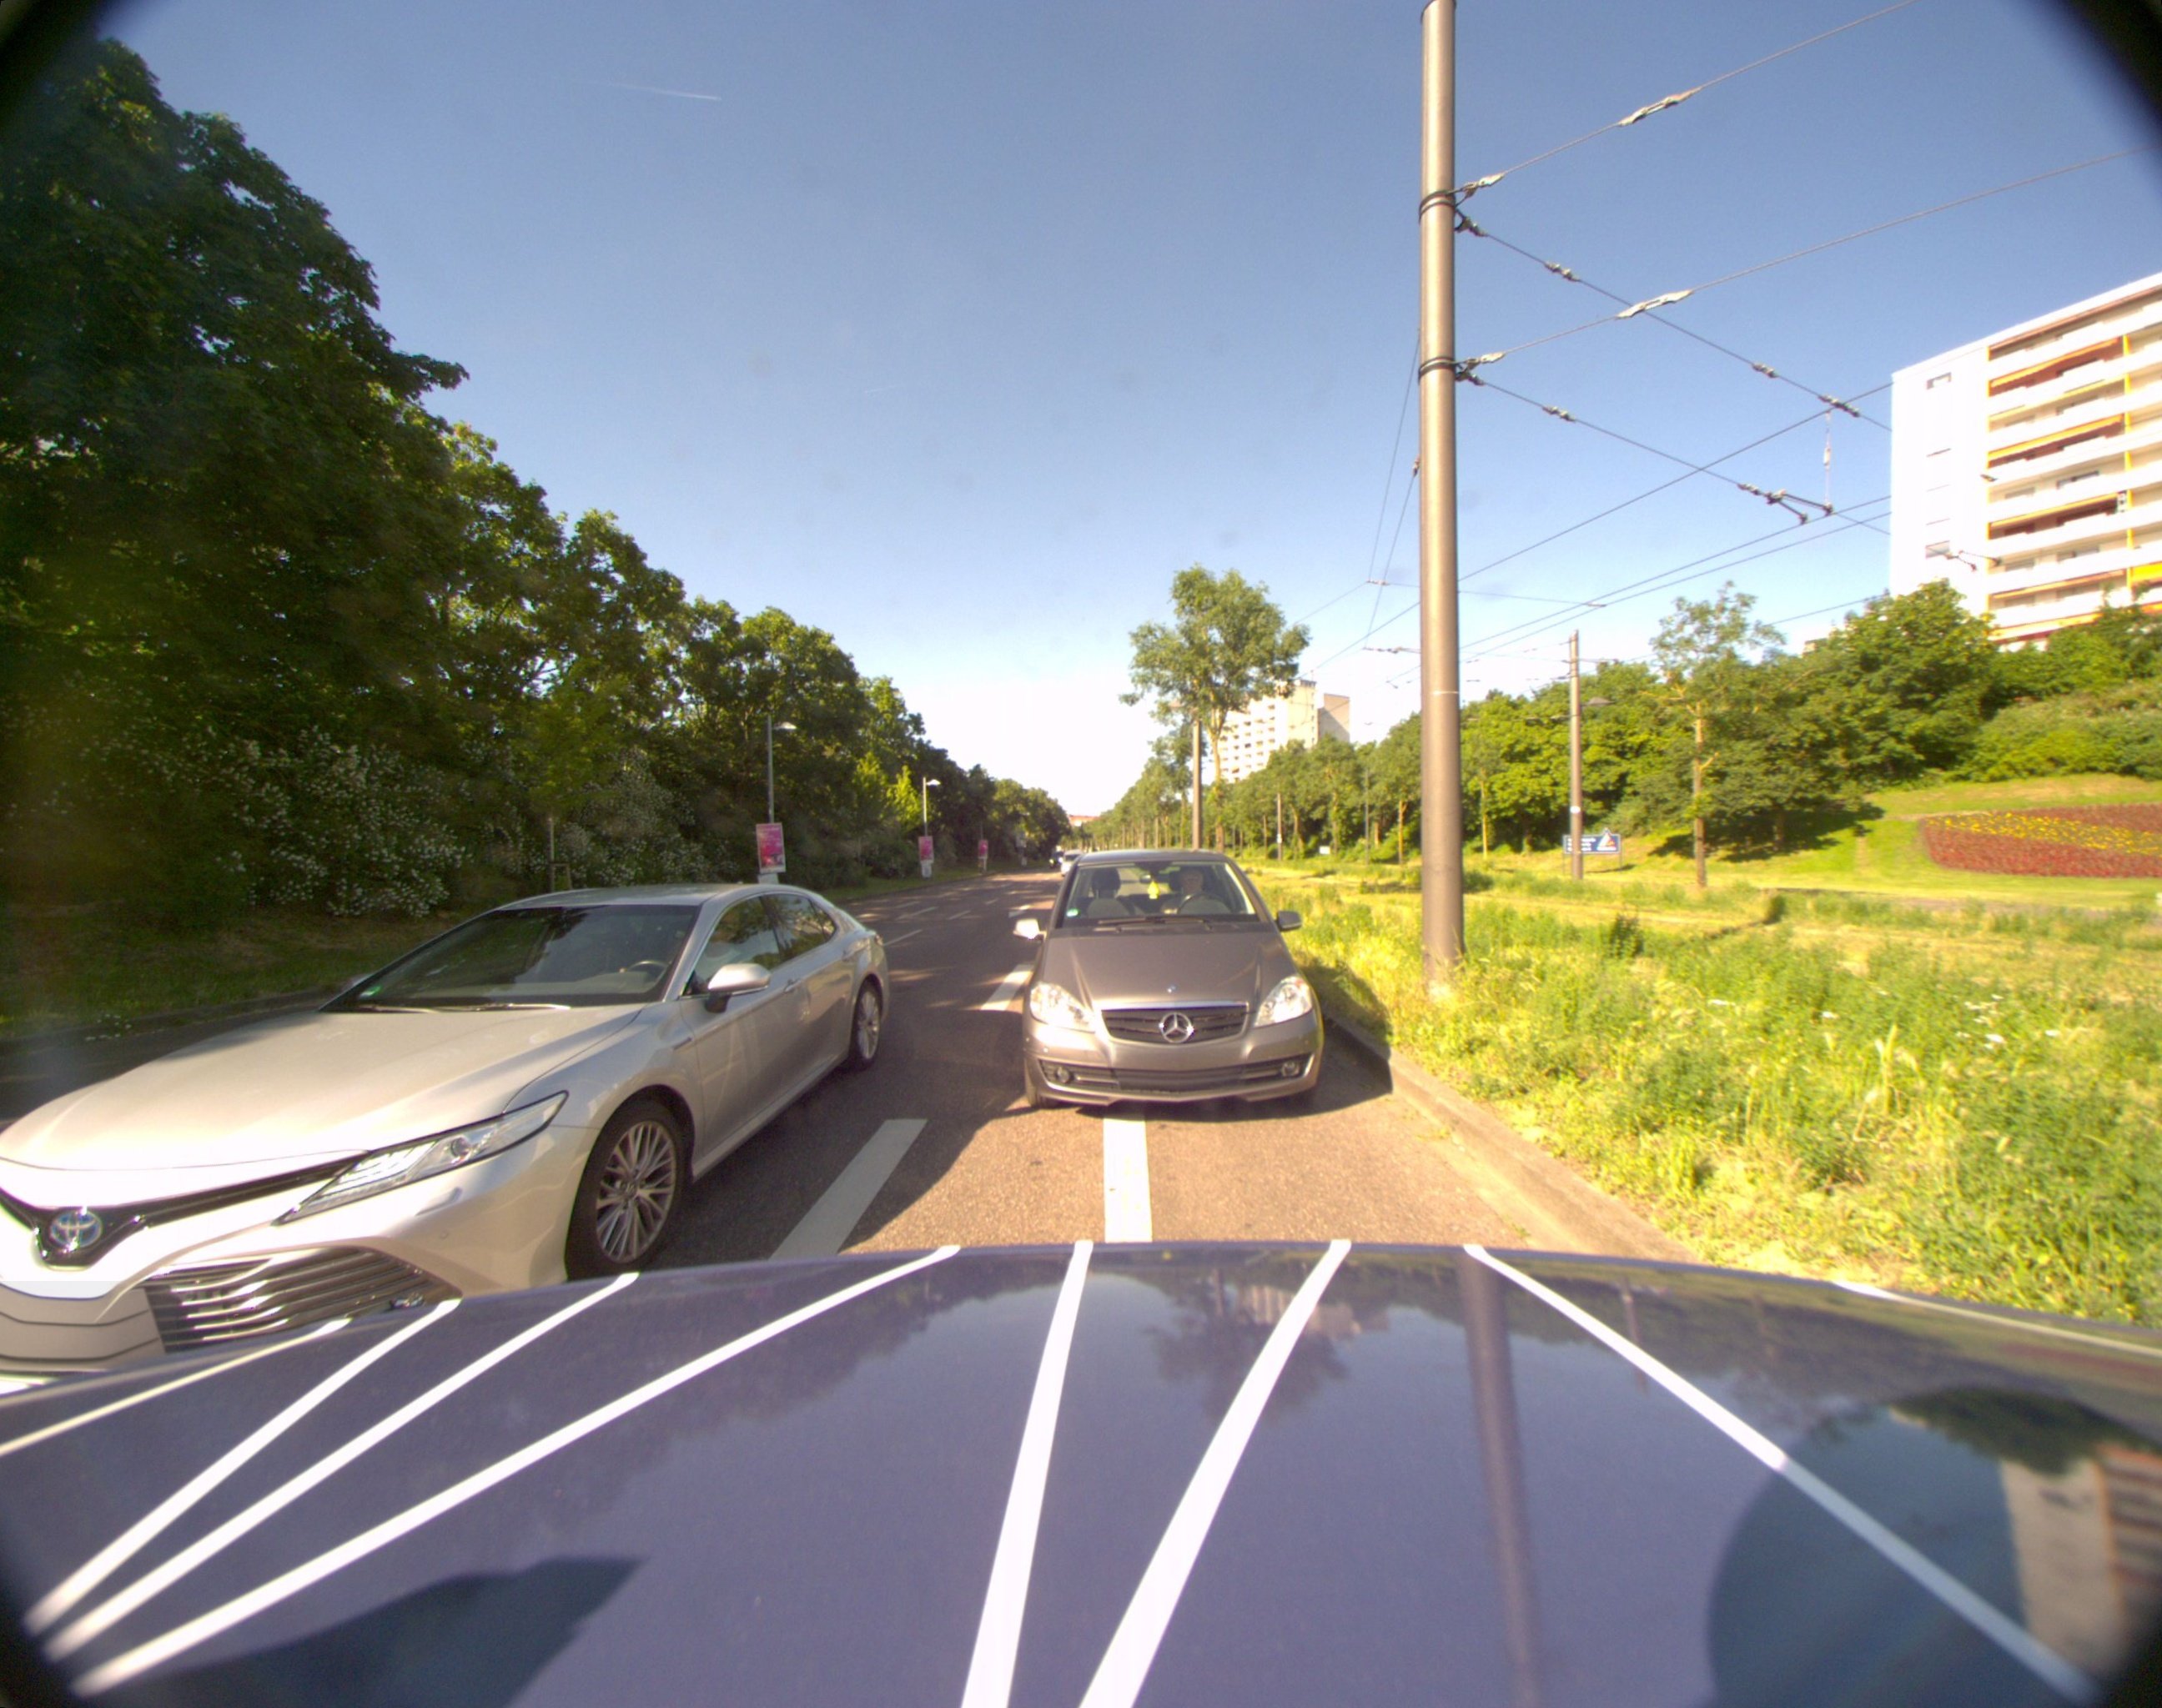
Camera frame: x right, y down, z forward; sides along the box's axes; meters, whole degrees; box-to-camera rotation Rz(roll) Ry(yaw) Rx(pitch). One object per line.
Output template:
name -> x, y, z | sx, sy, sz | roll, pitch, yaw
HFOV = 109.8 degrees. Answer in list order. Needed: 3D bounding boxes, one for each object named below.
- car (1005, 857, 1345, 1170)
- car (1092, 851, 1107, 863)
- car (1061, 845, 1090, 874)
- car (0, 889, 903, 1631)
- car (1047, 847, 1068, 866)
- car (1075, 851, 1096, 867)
car -> 0.526, 0.856, 6.205 | 1.777, 1.597, 4.384 | -1, 0, 1
car -> 2.329, 0.331, 95.181 | 1.776, 1.395, 4.067 | -1, 0, 2
car -> -0.358, 0.367, 54.249 | 1.822, 1.893, 4.622 | -1, 0, 2
car -> -2.634, 1.049, 4.122 | 2.069, 1.451, 4.749 | -1, 0, 2
car -> -2.538, 0.246, 82.305 | 1.998, 1.882, 5.148 | -1, 0, 1
car -> 0.432, 0.466, 70.793 | 1.776, 1.395, 4.067 | -1, 0, 2
